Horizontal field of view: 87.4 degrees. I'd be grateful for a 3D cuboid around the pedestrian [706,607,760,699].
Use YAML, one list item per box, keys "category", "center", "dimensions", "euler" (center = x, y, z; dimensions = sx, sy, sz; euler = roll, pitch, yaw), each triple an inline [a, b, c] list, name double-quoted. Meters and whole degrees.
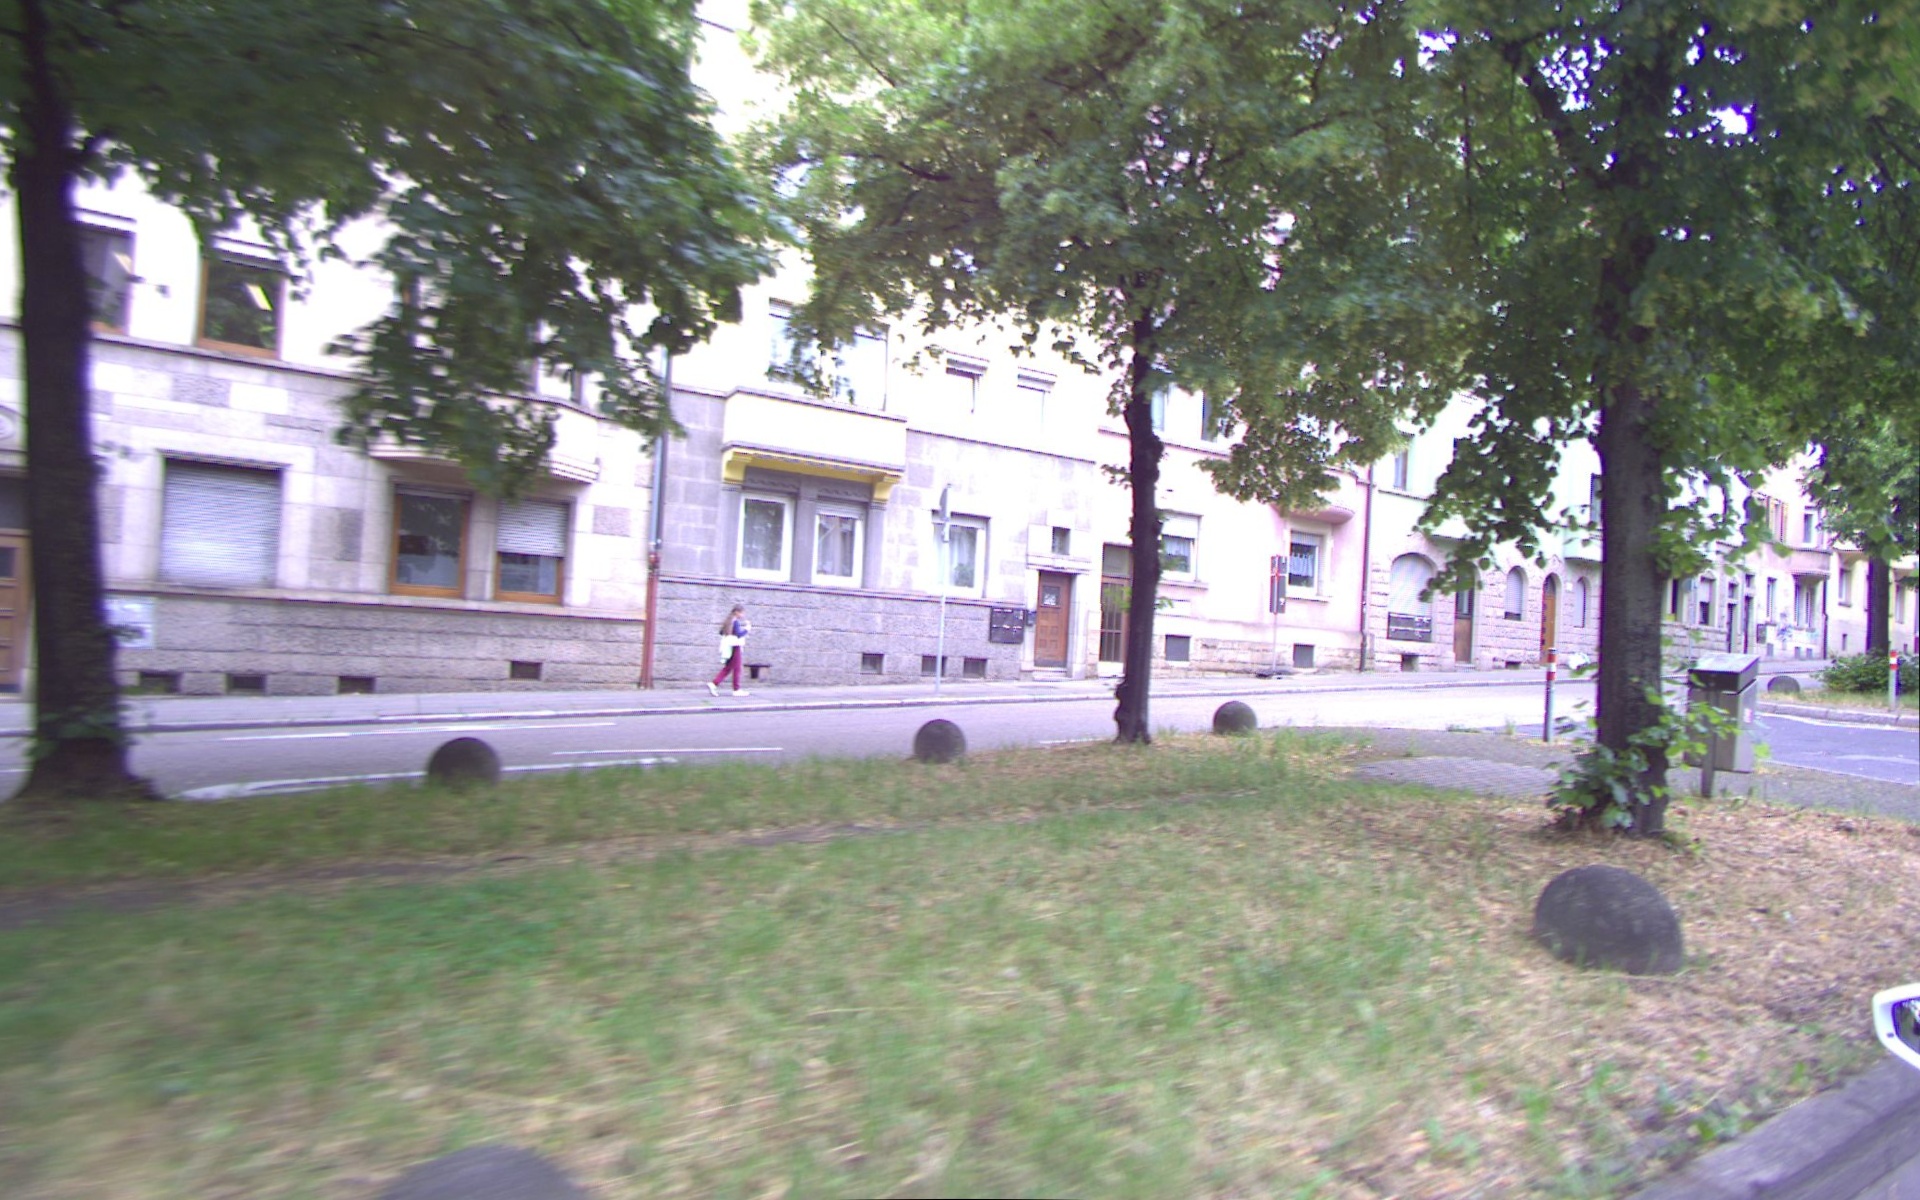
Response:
- category: "pedestrian"
  center: [-3.803, 0.873, 16.808]
  dimensions: [0.695, 1.480, 0.695]
  euler: [1, 1, -30]
